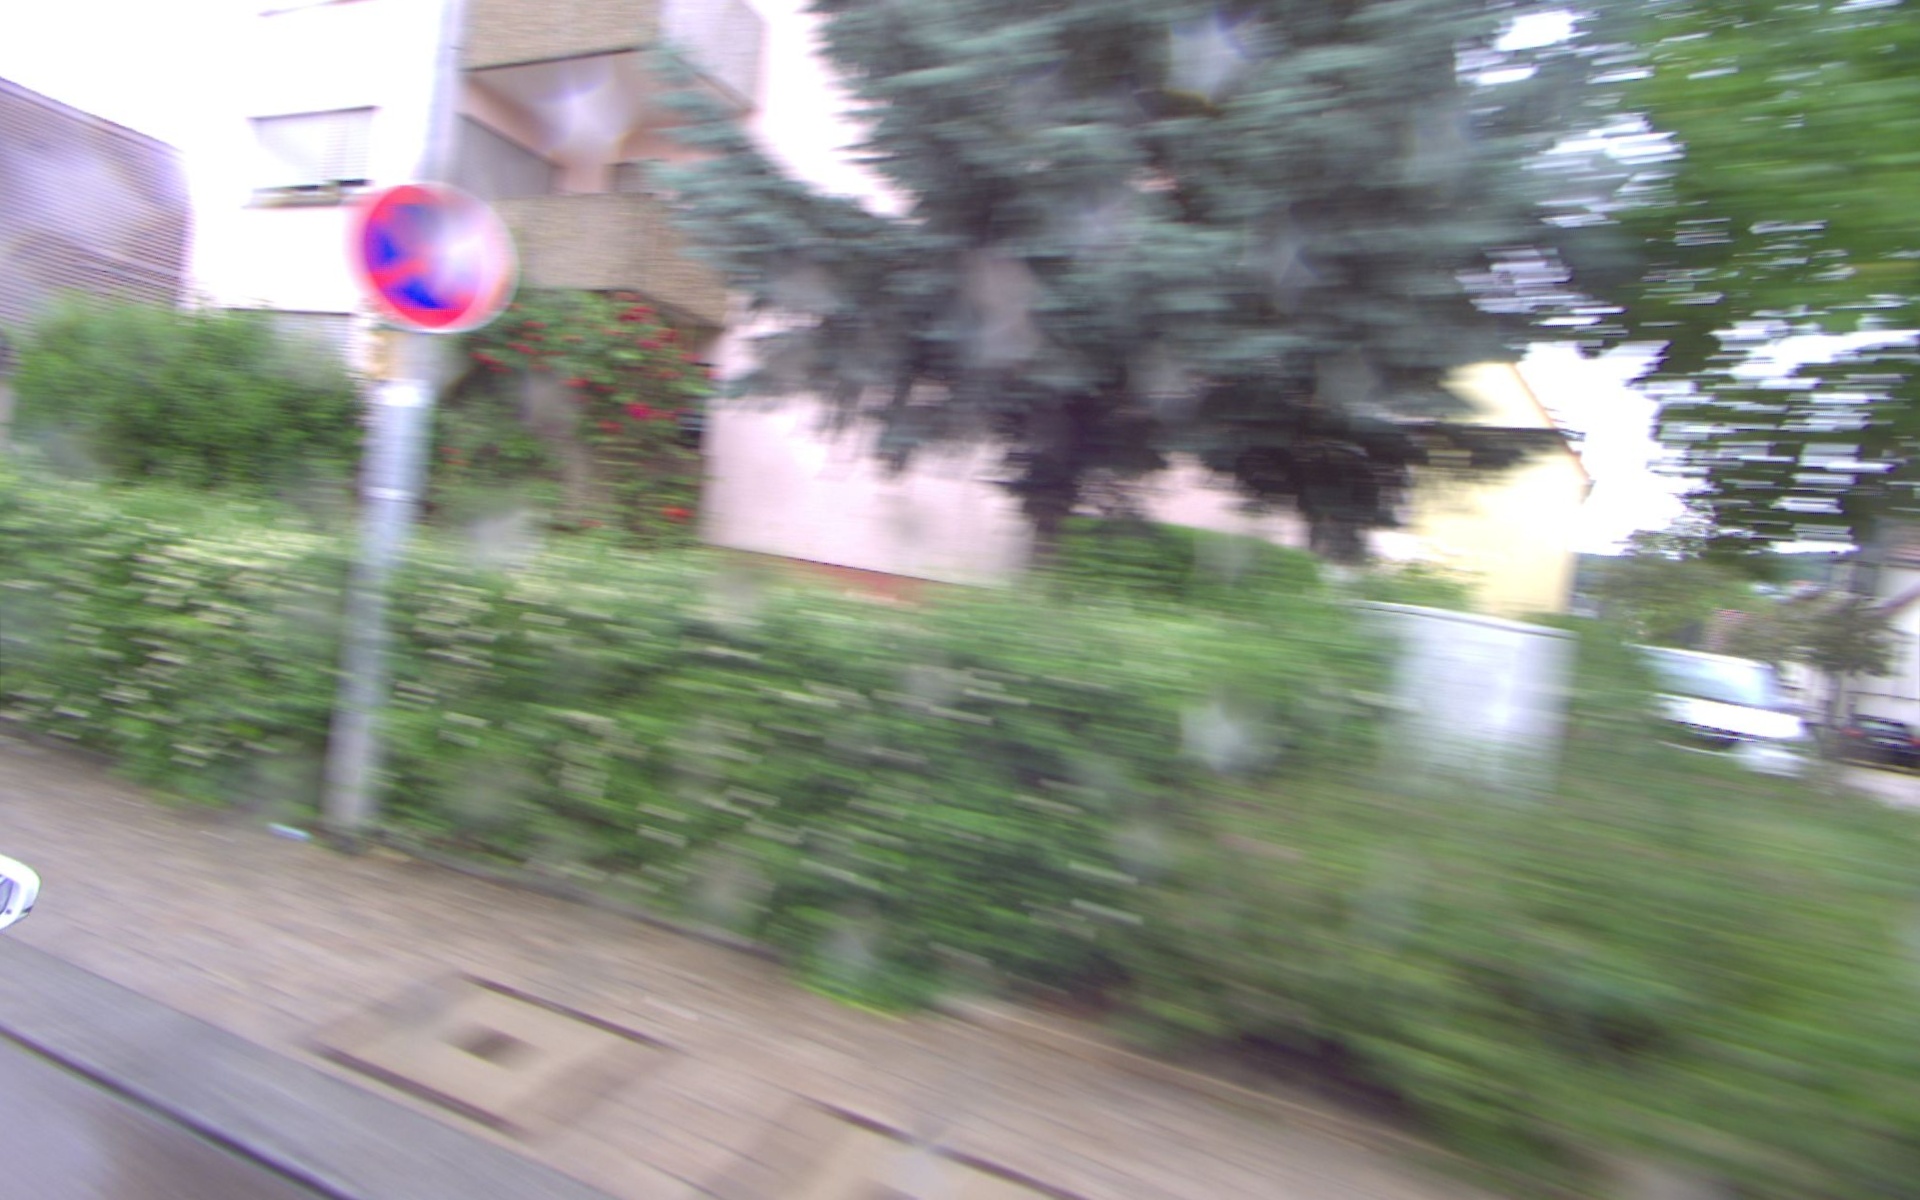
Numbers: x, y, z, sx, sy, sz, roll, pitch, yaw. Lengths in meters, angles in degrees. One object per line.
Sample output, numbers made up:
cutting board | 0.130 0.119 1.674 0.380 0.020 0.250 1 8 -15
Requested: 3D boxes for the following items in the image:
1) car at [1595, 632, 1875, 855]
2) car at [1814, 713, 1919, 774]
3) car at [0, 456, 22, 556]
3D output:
car | 8.001 1.354 10.777 1.578 1.699 3.930 10 2 29
car | 25.546 3.988 28.383 1.438 1.305 3.612 7 0 30
car | -17.735 -1.723 15.600 1.868 1.671 4.225 7 2 23
